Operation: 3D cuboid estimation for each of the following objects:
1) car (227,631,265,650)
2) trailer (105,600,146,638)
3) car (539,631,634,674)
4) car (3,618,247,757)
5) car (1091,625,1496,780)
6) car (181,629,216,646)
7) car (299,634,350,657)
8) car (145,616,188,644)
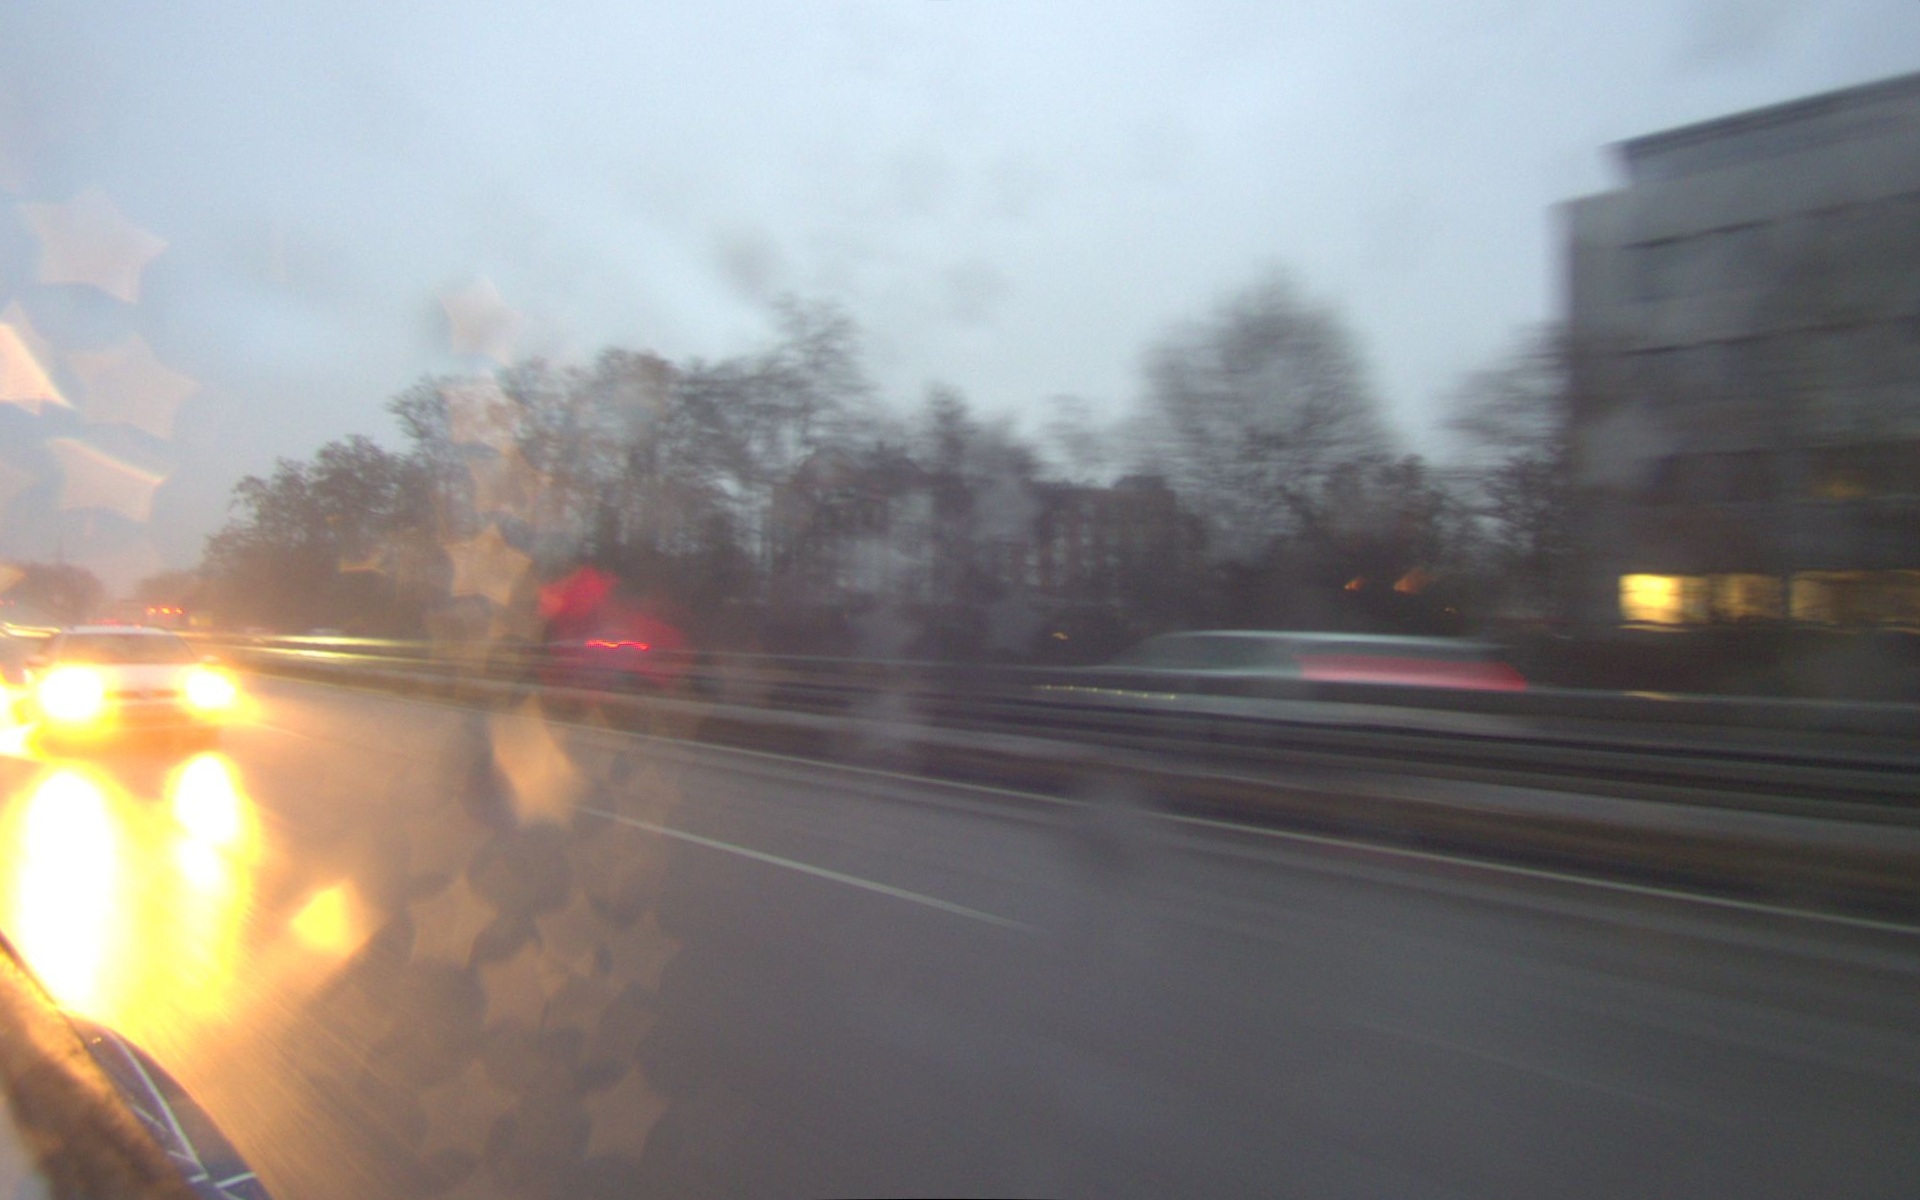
[{"bbox_3d":[-53.877,3.028,76.348,4.257,1.331,1.528,-1,0,43],"label":"car"},{"bbox_3d":[-113.335,2.519,137.317,3.448,4.884,13.493,-1,0,-43],"label":"trailer"},{"bbox_3d":[-14.372,1.969,38.807,4.540,1.524,1.528,-1,-1,43],"label":"car"},{"bbox_3d":[-11.347,1.051,13.614,4.788,1.532,1.926,-2,-3,43],"label":"car"},{"bbox_3d":[4.159,1.165,13.145,4.666,1.669,1.823,-1,-2,41],"label":"car"},{"bbox_3d":[-66.638,3.285,88.559,4.473,1.331,1.691,-1,0,43],"label":"car"},{"bbox_3d":[-39.413,2.809,62.706,4.686,1.281,1.528,-1,0,43],"label":"car"},{"bbox_3d":[-82.233,3.118,104.869,6.340,2.751,2.500,-1,0,43],"label":"car"}]
